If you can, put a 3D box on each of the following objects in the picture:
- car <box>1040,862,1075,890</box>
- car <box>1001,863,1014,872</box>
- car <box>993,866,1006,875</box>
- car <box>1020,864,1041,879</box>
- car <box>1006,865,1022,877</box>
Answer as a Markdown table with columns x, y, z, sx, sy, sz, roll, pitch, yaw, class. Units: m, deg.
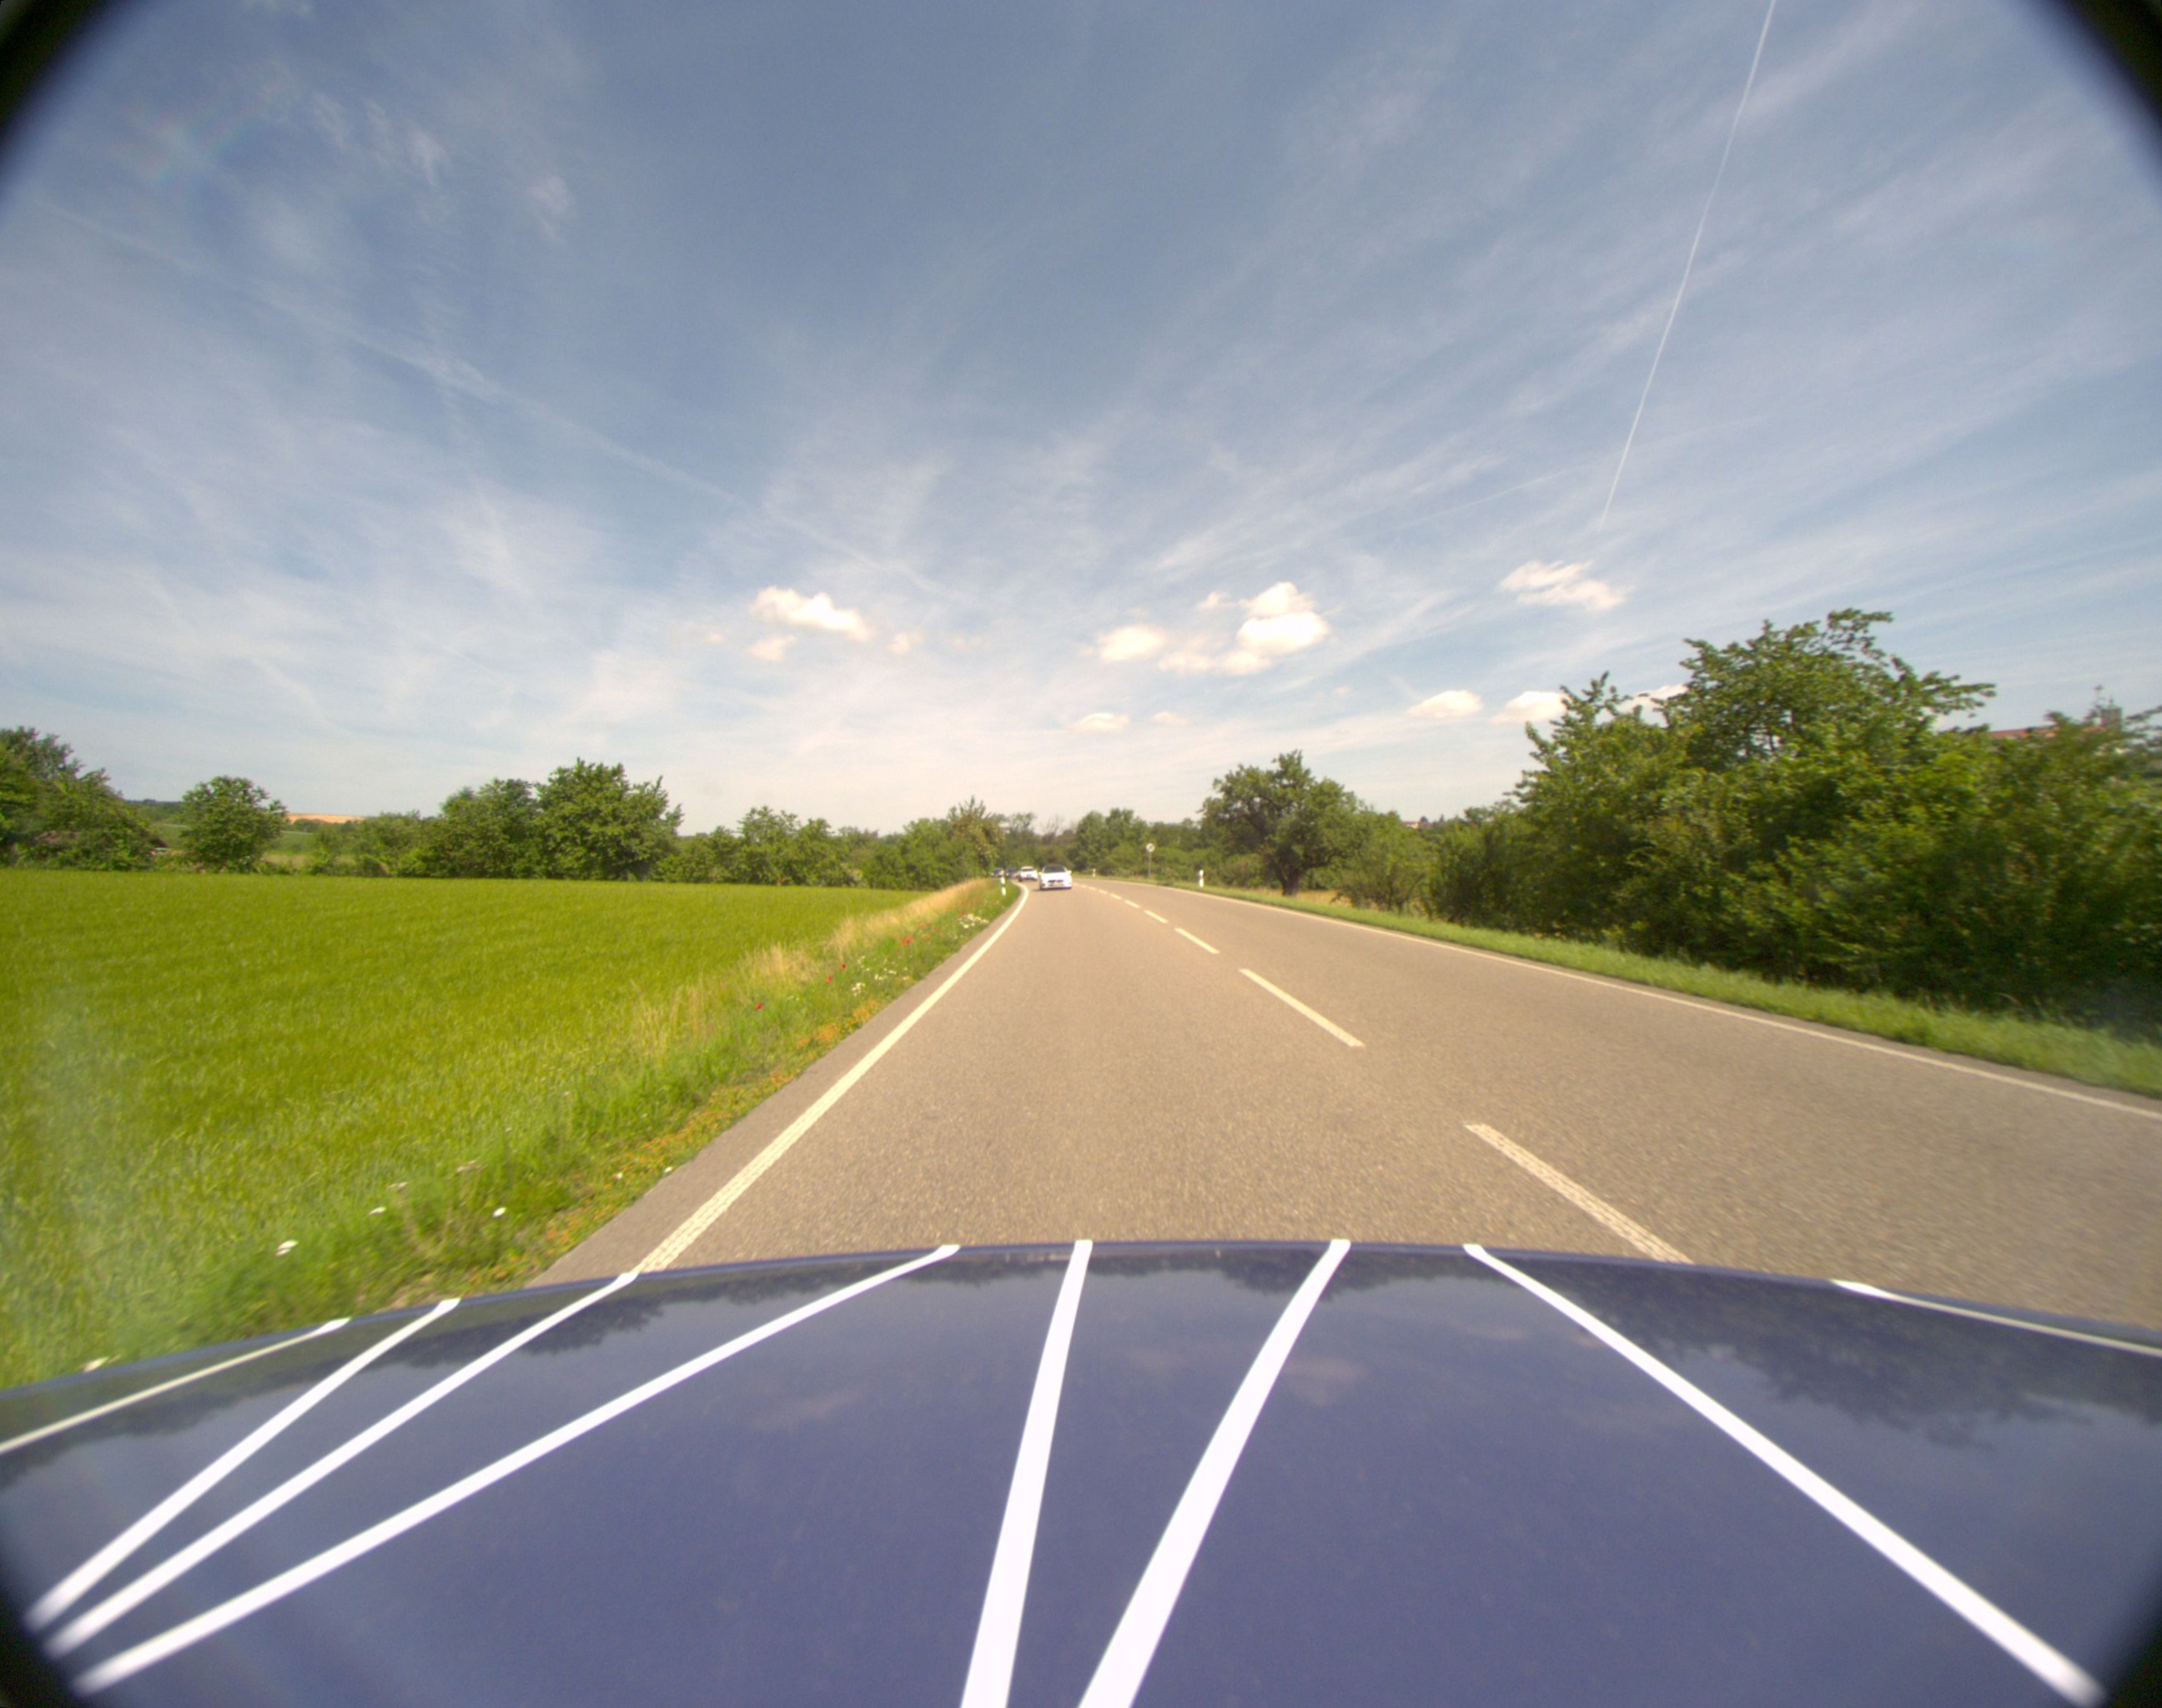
| x | y | z | sx | sy | sz | roll | pitch | yaw | class |
| --- | --- | --- | --- | --- | --- | --- | --- | --- | --- |
| -1.459 | 1.286 | 45.883 | 1.930 | 1.441 | 4.533 | -3 | 0 | -3 | car |
| -13.931 | 2.504 | 144.495 | 1.931 | 1.616 | 3.996 | -2 | -1 | -13 | car |
| -13.294 | 2.649 | 124.149 | 1.930 | 1.441 | 3.997 | 0 | -1 | -8 | car |
| -5.317 | 1.804 | 79.467 | 1.930 | 1.441 | 3.998 | -2 | -1 | -7 | car |
| -9.058 | 2.304 | 103.259 | 1.931 | 1.441 | 4.073 | 0 | 1 | -8 | car |
